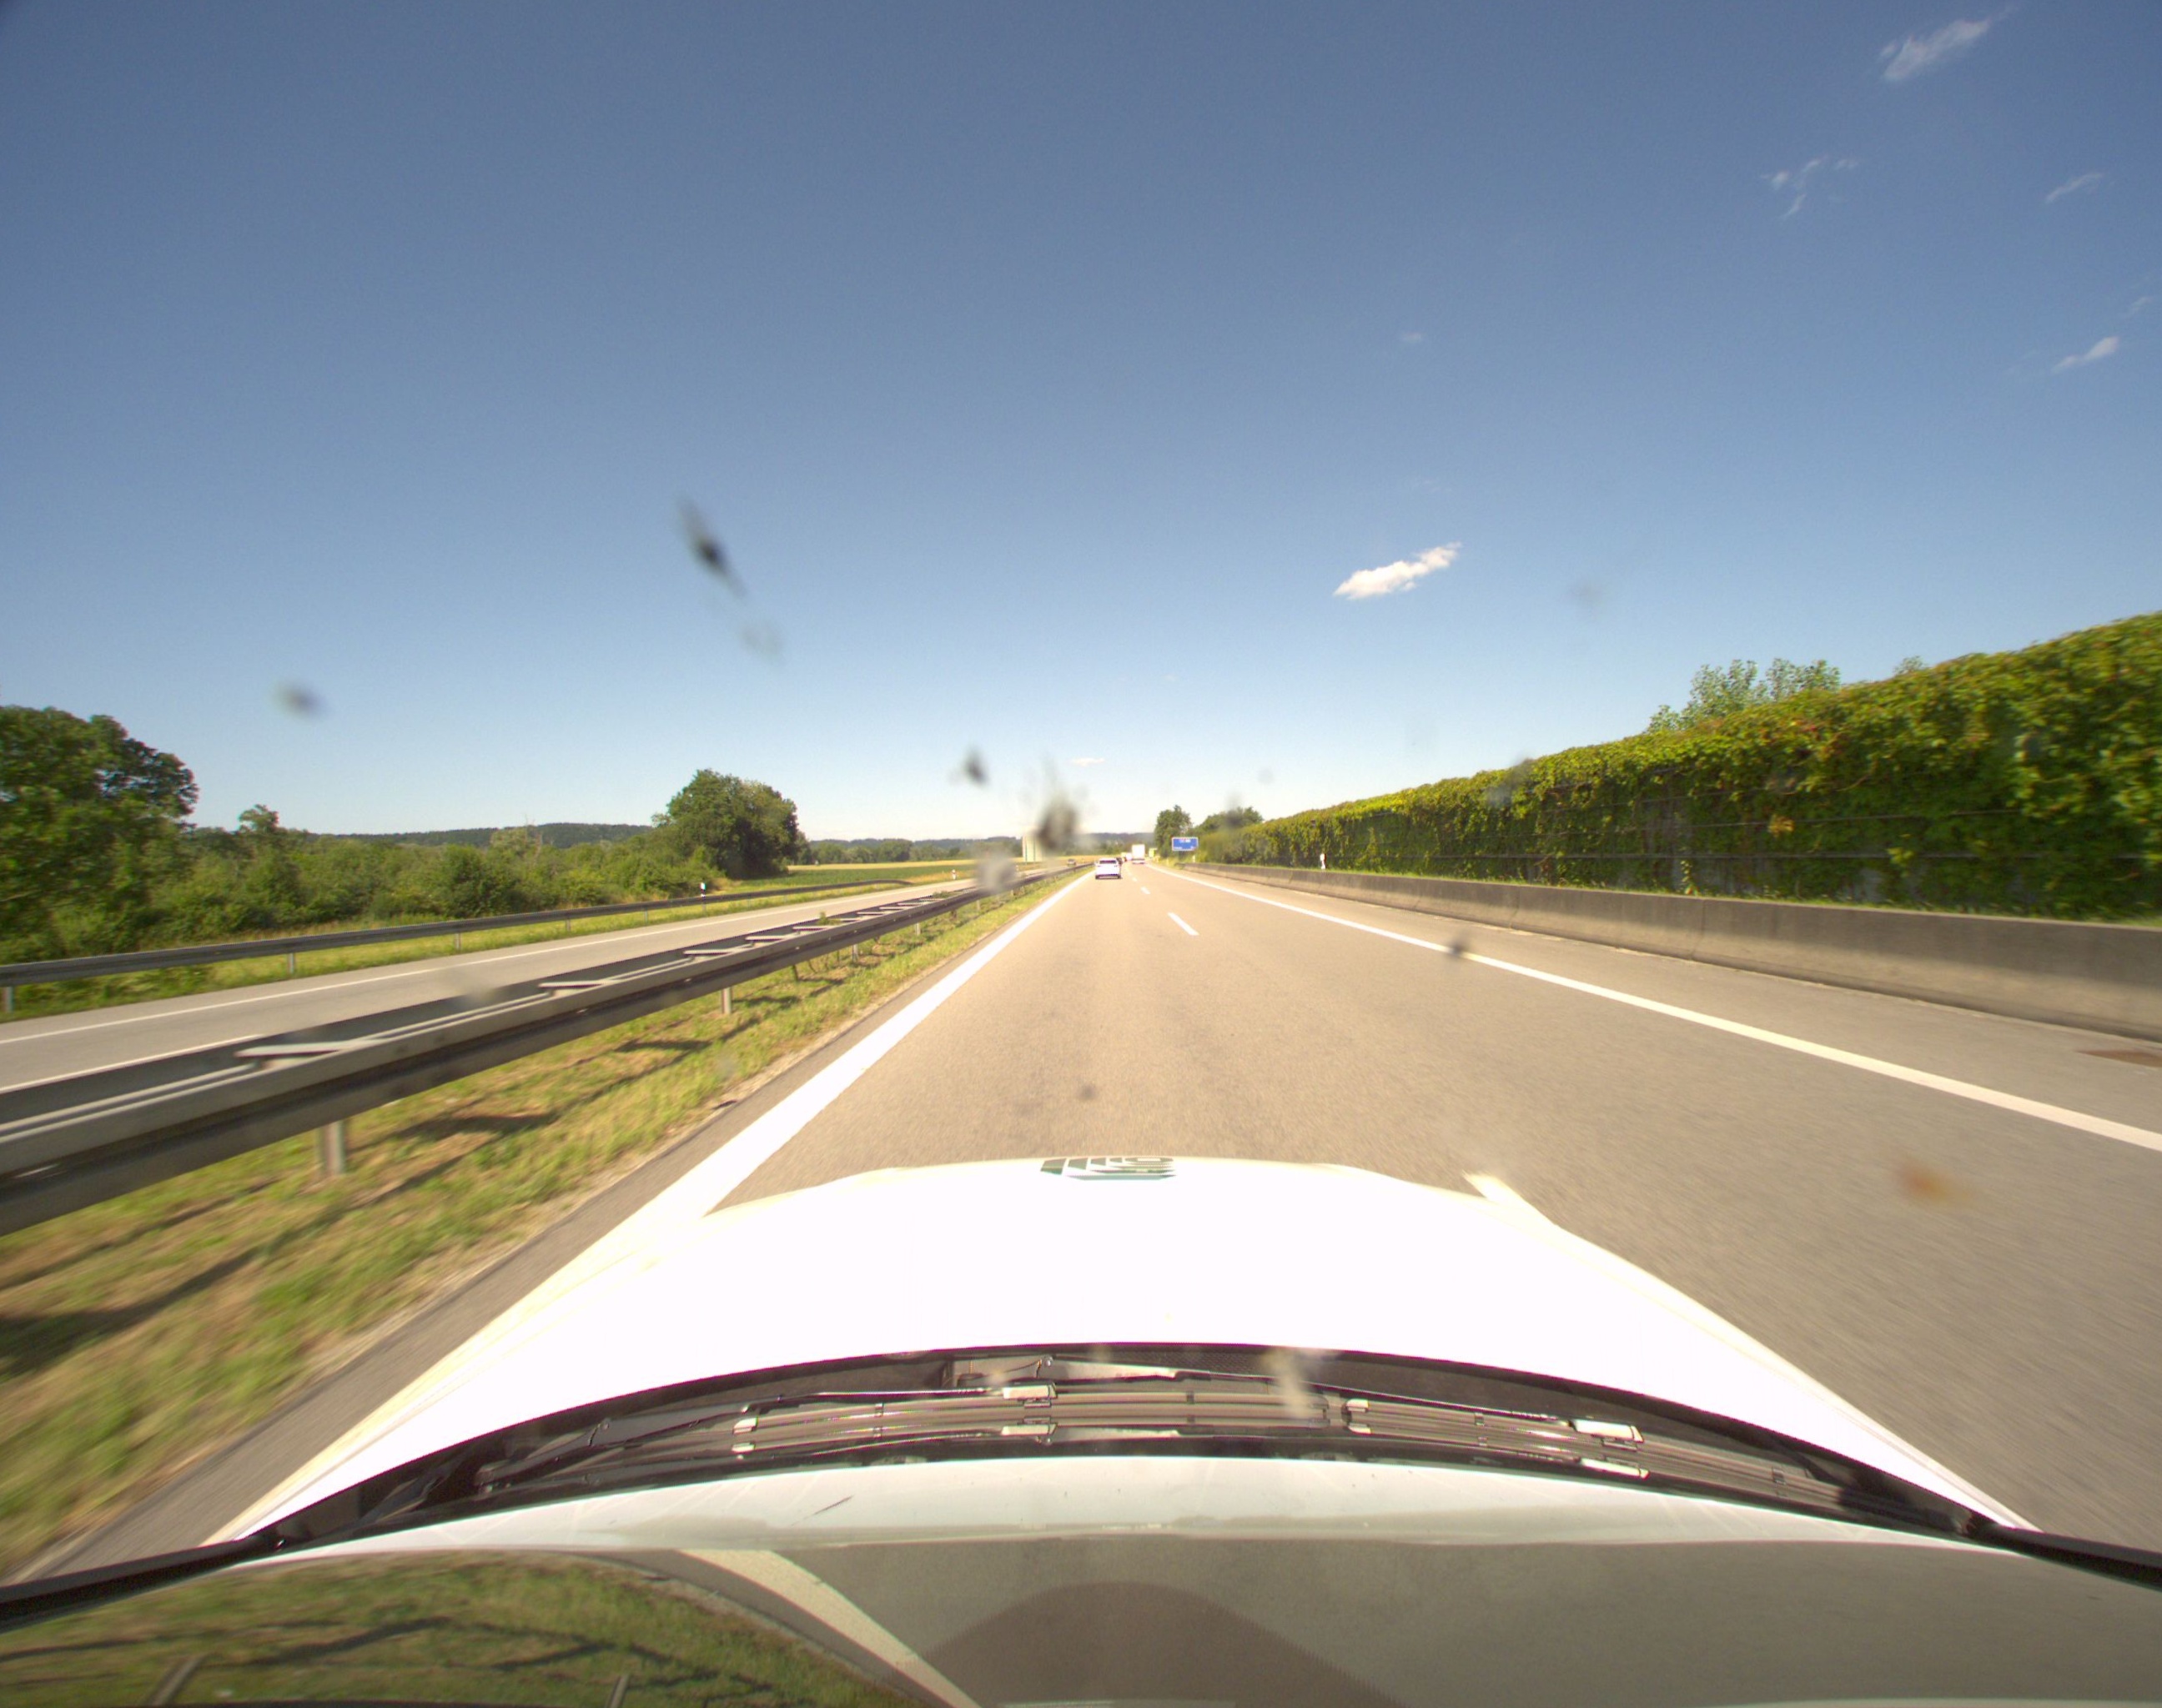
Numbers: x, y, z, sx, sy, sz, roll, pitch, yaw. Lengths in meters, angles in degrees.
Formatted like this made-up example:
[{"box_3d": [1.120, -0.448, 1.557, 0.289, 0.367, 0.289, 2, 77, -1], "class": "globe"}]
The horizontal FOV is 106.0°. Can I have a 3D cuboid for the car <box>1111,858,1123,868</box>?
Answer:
[{"box_3d": [5.817, 1.456, 132.652, 1.763, 1.421, 4.501, -1, 0, 5], "class": "car"}]

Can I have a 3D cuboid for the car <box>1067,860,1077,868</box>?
[{"box_3d": [-2.108, 2.190, 185.871, 1.985, 1.661, 4.779, -4, 0, 3], "class": "car"}]

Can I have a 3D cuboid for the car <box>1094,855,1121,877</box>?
[{"box_3d": [1.899, 0.830, 57.666, 1.833, 1.421, 5.257, -1, 0, 2], "class": "car"}]

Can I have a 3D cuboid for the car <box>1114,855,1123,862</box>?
[{"box_3d": [7.975, 0.906, 172.937, 1.764, 1.421, 4.367, -1, 0, 2], "class": "car"}]

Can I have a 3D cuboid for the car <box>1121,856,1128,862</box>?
[{"box_3d": [11.253, 1.378, 211.229, 1.763, 1.421, 4.370, -1, 0, 5], "class": "car"}]

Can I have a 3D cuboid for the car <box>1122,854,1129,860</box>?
[{"box_3d": [12.571, 0.831, 229.953, 1.763, 1.421, 4.371, -1, 0, 5], "class": "car"}]

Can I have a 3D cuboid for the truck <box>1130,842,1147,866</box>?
[{"box_3d": [11.887, -0.039, 169.041, 3.140, 4.612, 8.910, -2, 0, 2], "class": "truck"}]
